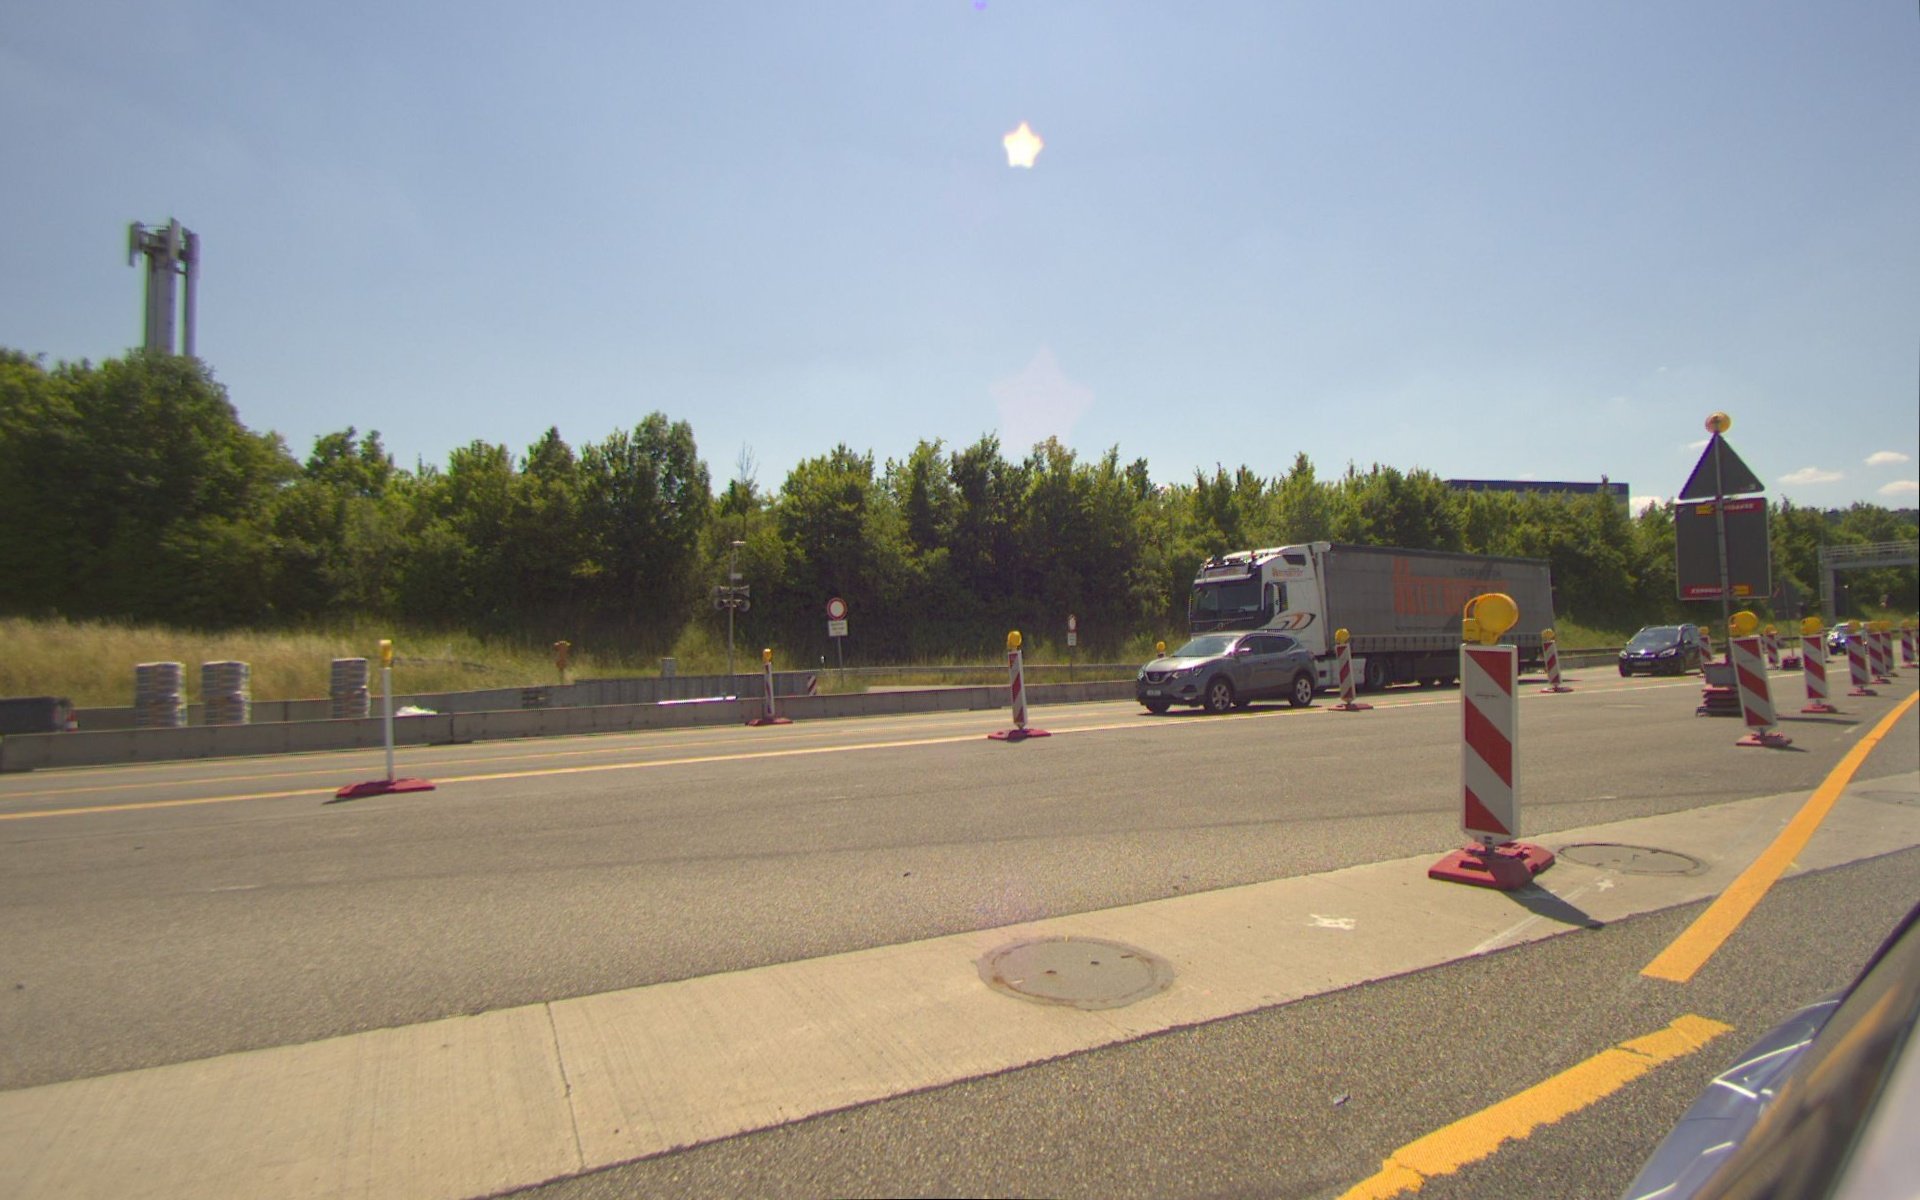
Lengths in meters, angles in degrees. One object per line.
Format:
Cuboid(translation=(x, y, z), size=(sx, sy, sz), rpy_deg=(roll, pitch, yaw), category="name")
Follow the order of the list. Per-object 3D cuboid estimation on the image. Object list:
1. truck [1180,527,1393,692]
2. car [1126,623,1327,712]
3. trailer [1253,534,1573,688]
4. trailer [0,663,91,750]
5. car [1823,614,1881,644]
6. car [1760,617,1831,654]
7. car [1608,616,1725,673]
Cuboid(translation=(8.813, 0.341, 27.160), size=(5.494, 4.003, 2.533), rpy_deg=(1, -5, -37), category="truck")
Cuboid(translation=(5.425, 1.332, 20.496), size=(3.954, 1.573, 1.710), rpy_deg=(0, -4, -35), category="car")
Cuboid(translation=(14.550, 0.411, 31.460), size=(13.609, 4.005, 2.546), rpy_deg=(1, -5, -37), category="trailer")
Cuboid(translation=(-21.212, 2.172, 19.858), size=(6.120, 1.589, 2.601), rpy_deg=(1, -2, -38), category="trailer")
Cuboid(translation=(56.233, 1.806, 63.762), size=(4.410, 1.718, 1.819), rpy_deg=(0, -4, -38), category="car")
Cuboid(translation=(43.555, 1.835, 52.715), size=(4.410, 1.718, 1.818), rpy_deg=(0, -4, -38), category="car")
Cuboid(translation=(23.860, 1.490, 34.128), size=(4.409, 1.718, 1.819), rpy_deg=(0, -4, -37), category="car")
